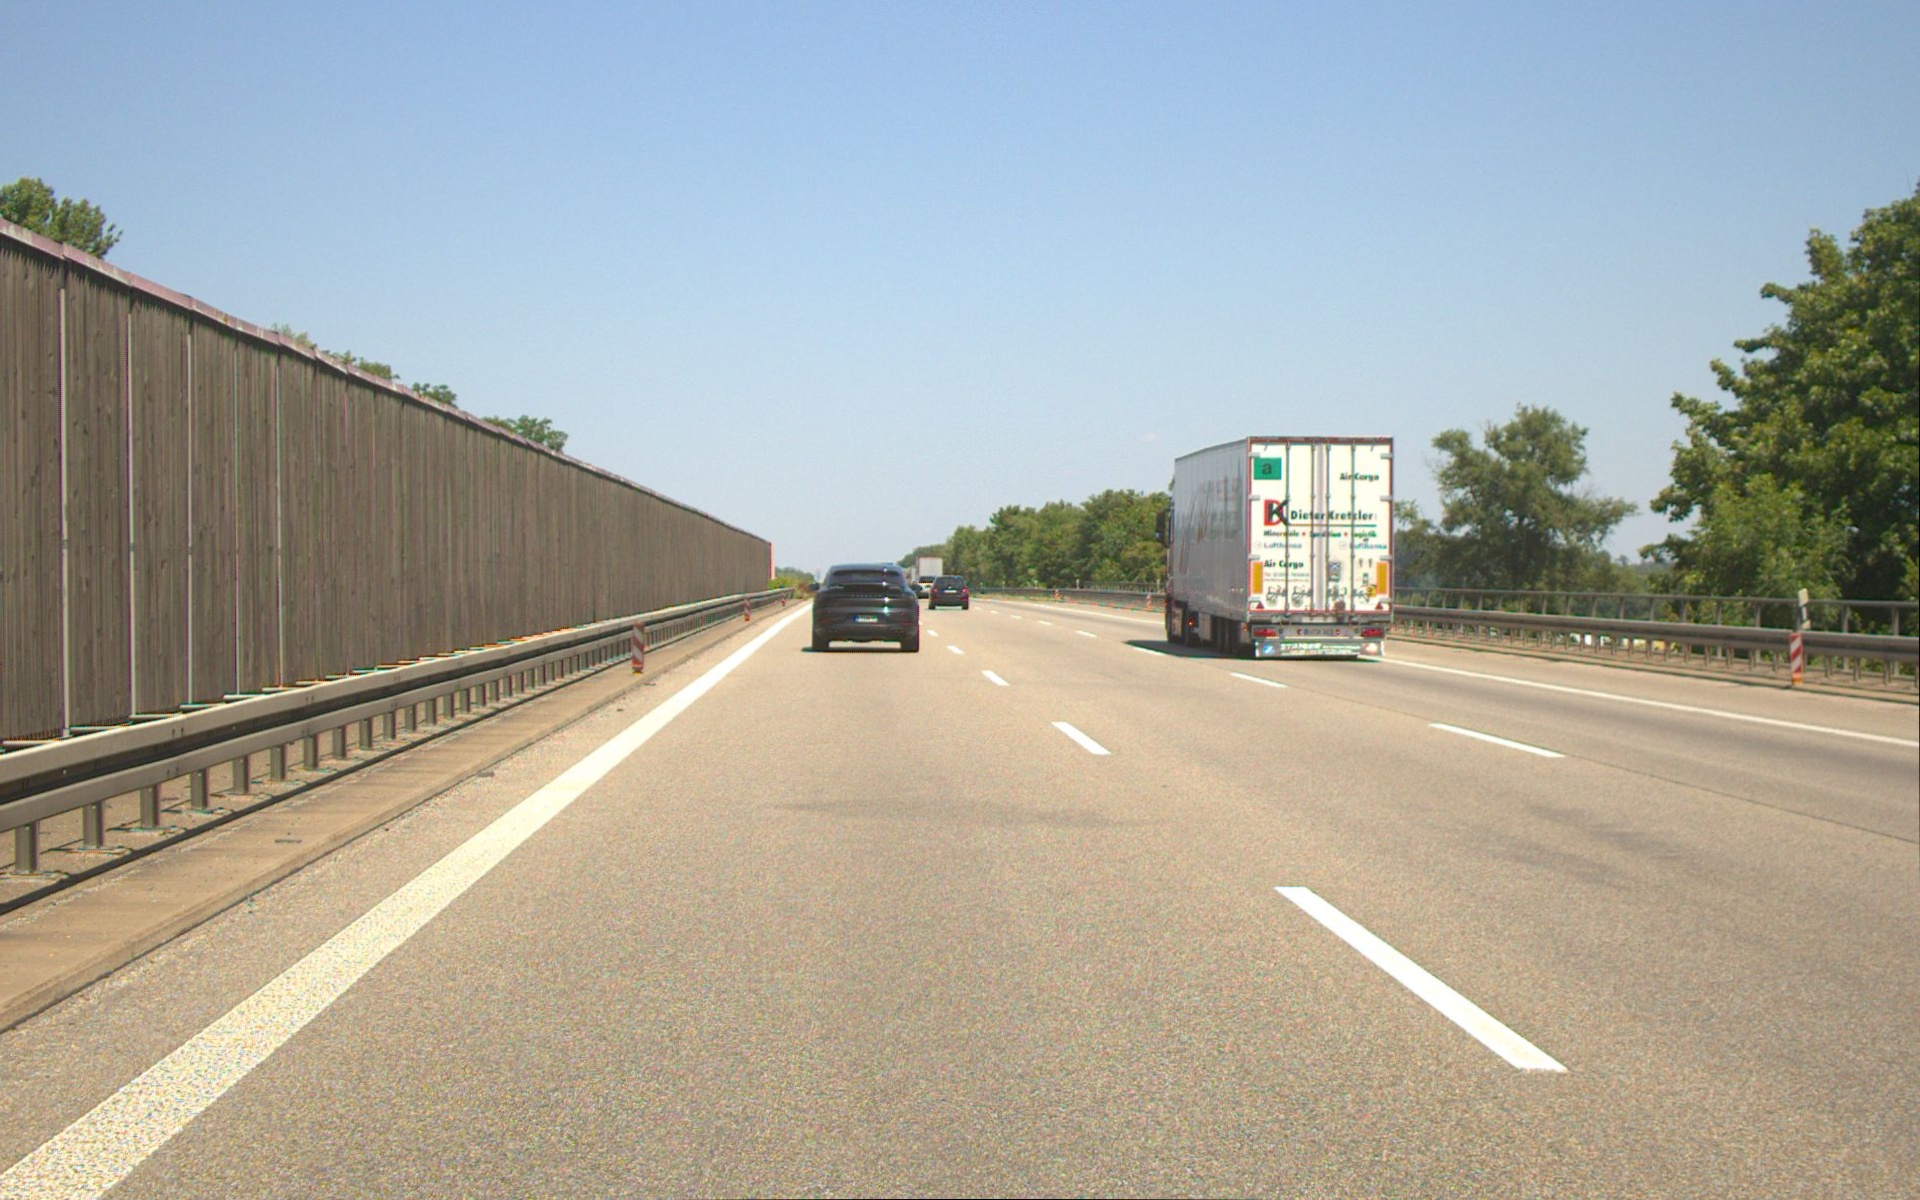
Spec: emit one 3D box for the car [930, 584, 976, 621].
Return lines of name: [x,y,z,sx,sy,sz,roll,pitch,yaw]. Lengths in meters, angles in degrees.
car: [-0.324,0.108,148.225,1.903,1.578,4.304,0,0,-1]

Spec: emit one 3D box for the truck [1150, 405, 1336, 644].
truck: [6.019,-1.586,74.213,3.234,4.872,6.972,1,1,-1]

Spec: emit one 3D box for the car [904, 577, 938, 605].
car: [-2.295,-0.533,198.948,1.903,1.578,4.304,0,0,-1]

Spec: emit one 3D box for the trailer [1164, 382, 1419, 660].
trailer: [6.232,-1.461,67.287,3.269,4.821,14.030,1,1,-1]

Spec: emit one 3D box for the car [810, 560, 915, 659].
car: [-1.872,0.146,64.852,1.880,1.786,4.001,0,1,-3]
